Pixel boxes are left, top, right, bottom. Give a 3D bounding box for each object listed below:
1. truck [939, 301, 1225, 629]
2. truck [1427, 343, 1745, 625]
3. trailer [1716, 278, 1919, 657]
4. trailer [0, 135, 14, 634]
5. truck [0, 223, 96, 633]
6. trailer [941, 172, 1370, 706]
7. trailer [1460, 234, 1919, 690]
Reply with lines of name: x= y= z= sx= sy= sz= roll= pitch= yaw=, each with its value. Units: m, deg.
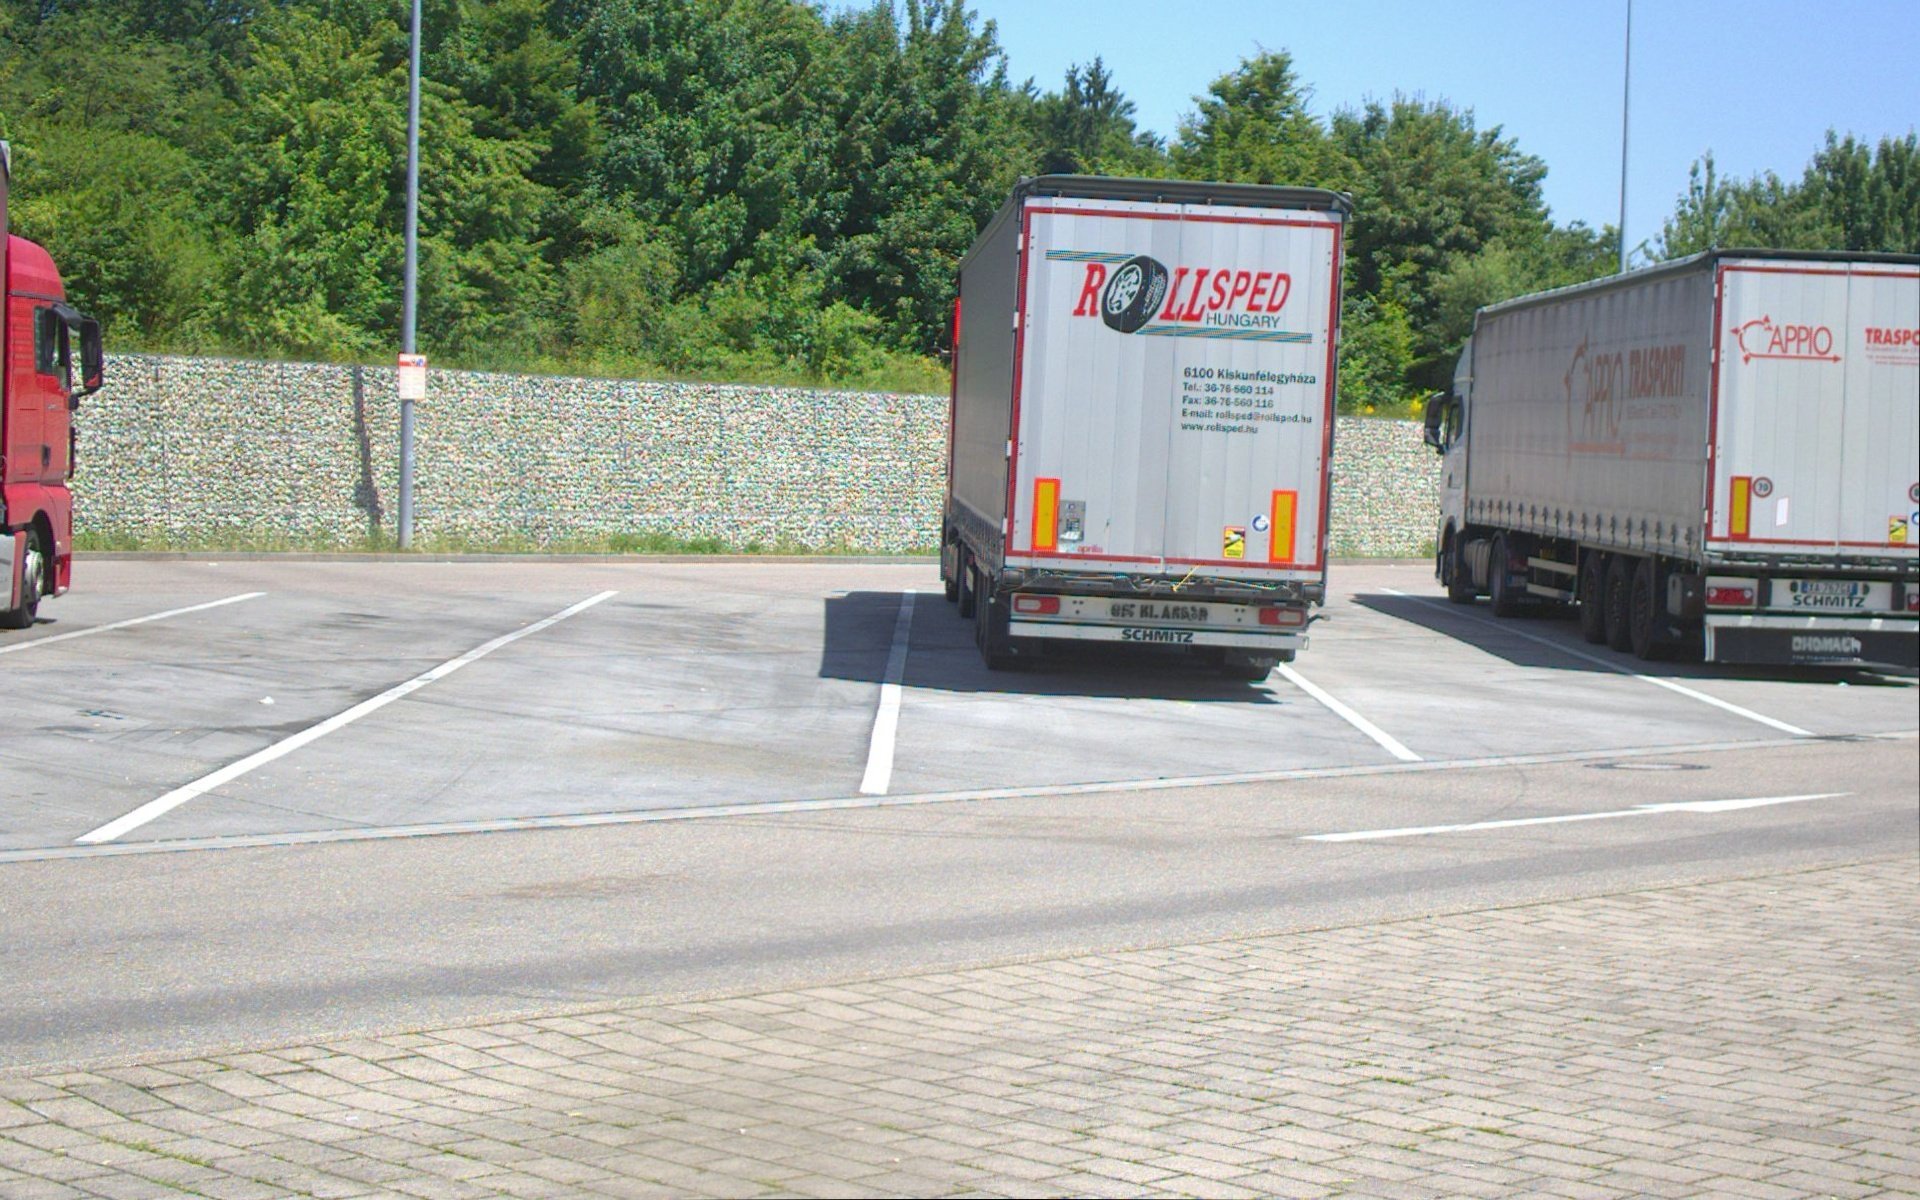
truck: x=1.269 y=-1.570 z=39.321 sx=2.865 sy=3.351 sz=5.975 roll=2 pitch=3 yaw=-1
truck: x=8.080 y=-1.565 z=45.139 sx=2.865 sy=3.351 sz=5.975 roll=2 pitch=3 yaw=-1
trailer: x=11.779 y=-1.499 z=39.386 sx=2.858 sy=4.095 sz=13.765 roll=2 pitch=3 yaw=-1
trailer: x=-9.170 y=-1.464 z=21.378 sx=2.821 sy=4.057 sz=13.765 roll=2 pitch=3 yaw=-1
truck: x=-9.258 y=-1.455 z=28.197 sx=2.812 sy=3.351 sz=5.975 roll=2 pitch=3 yaw=-1
trailer: x=1.453 y=-1.564 z=33.119 sx=2.858 sy=3.958 sz=13.765 roll=2 pitch=3 yaw=-1
trailer: x=8.182 y=-1.584 z=38.373 sx=2.858 sy=4.095 sz=13.765 roll=2 pitch=3 yaw=-1
